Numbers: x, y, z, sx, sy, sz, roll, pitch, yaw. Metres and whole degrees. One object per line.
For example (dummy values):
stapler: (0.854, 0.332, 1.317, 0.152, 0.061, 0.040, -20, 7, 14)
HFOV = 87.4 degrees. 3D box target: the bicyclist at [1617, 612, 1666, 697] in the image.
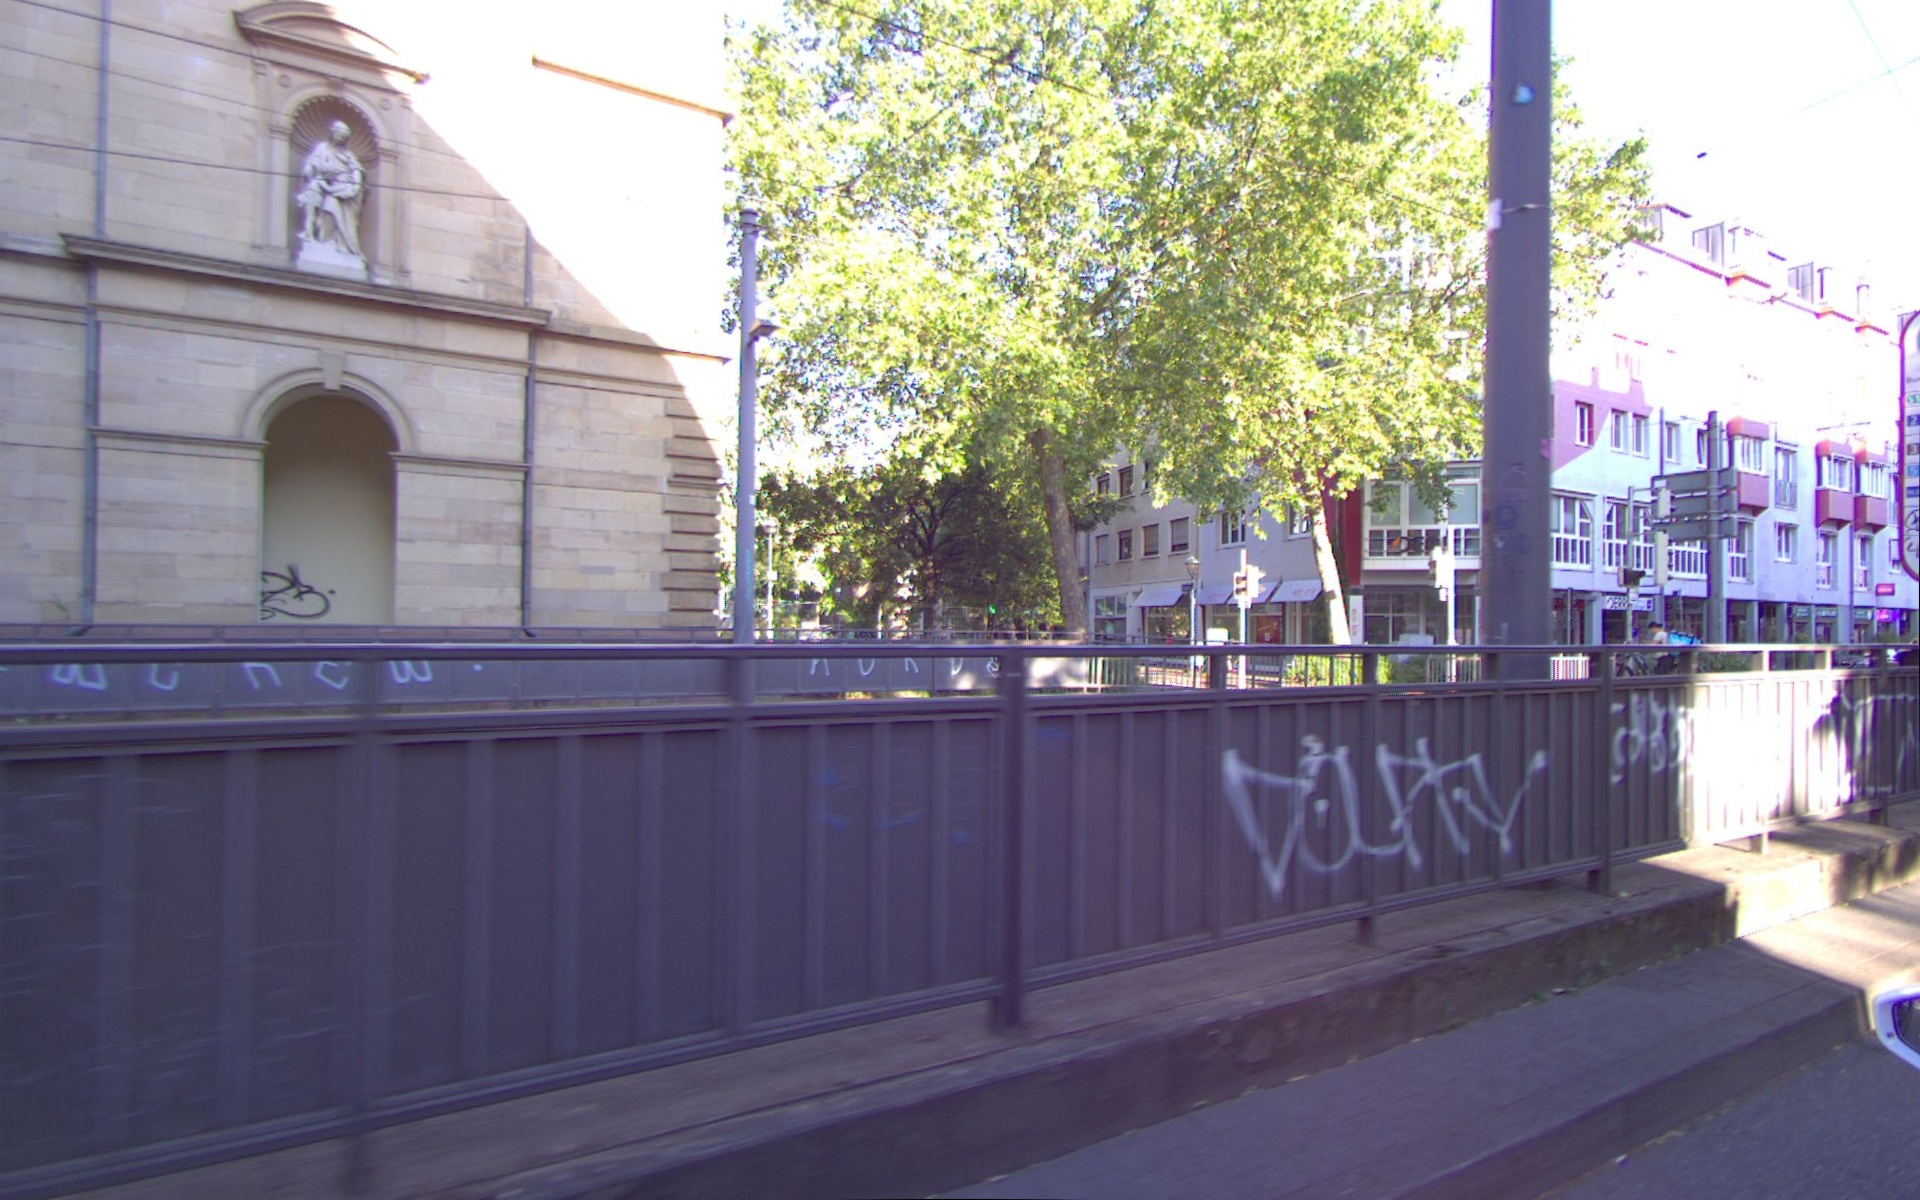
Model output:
bicyclist: (14.281, 1.121, 21.052, 0.530, 1.734, 0.736, 2, -1, -41)

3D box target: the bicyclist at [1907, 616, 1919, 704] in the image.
bicyclist: (17.792, 1.100, 18.205, 0.524, 1.599, 0.744, 1, -1, -11)

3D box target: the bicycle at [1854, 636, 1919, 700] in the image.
bicycle: (17.710, 1.274, 18.466, 0.574, 1.092, 1.894, 2, 1, -13)

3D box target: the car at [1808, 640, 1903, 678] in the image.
car: (37.809, 2.483, 42.378, 4.657, 1.458, 1.858, 2, -1, -33)

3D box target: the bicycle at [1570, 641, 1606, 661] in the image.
bicycle: (22.361, 1.819, 35.757, 1.793, 0.667, 0.452, 2, 1, -36)

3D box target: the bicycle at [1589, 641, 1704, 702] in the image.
bicycle: (14.303, 1.460, 20.976, 0.579, 1.092, 1.878, 2, 1, -38)

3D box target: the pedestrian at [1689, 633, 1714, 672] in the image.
pedestrian: (33.344, 2.341, 45.165, 0.609, 1.734, 0.739, 1, -1, -34)
